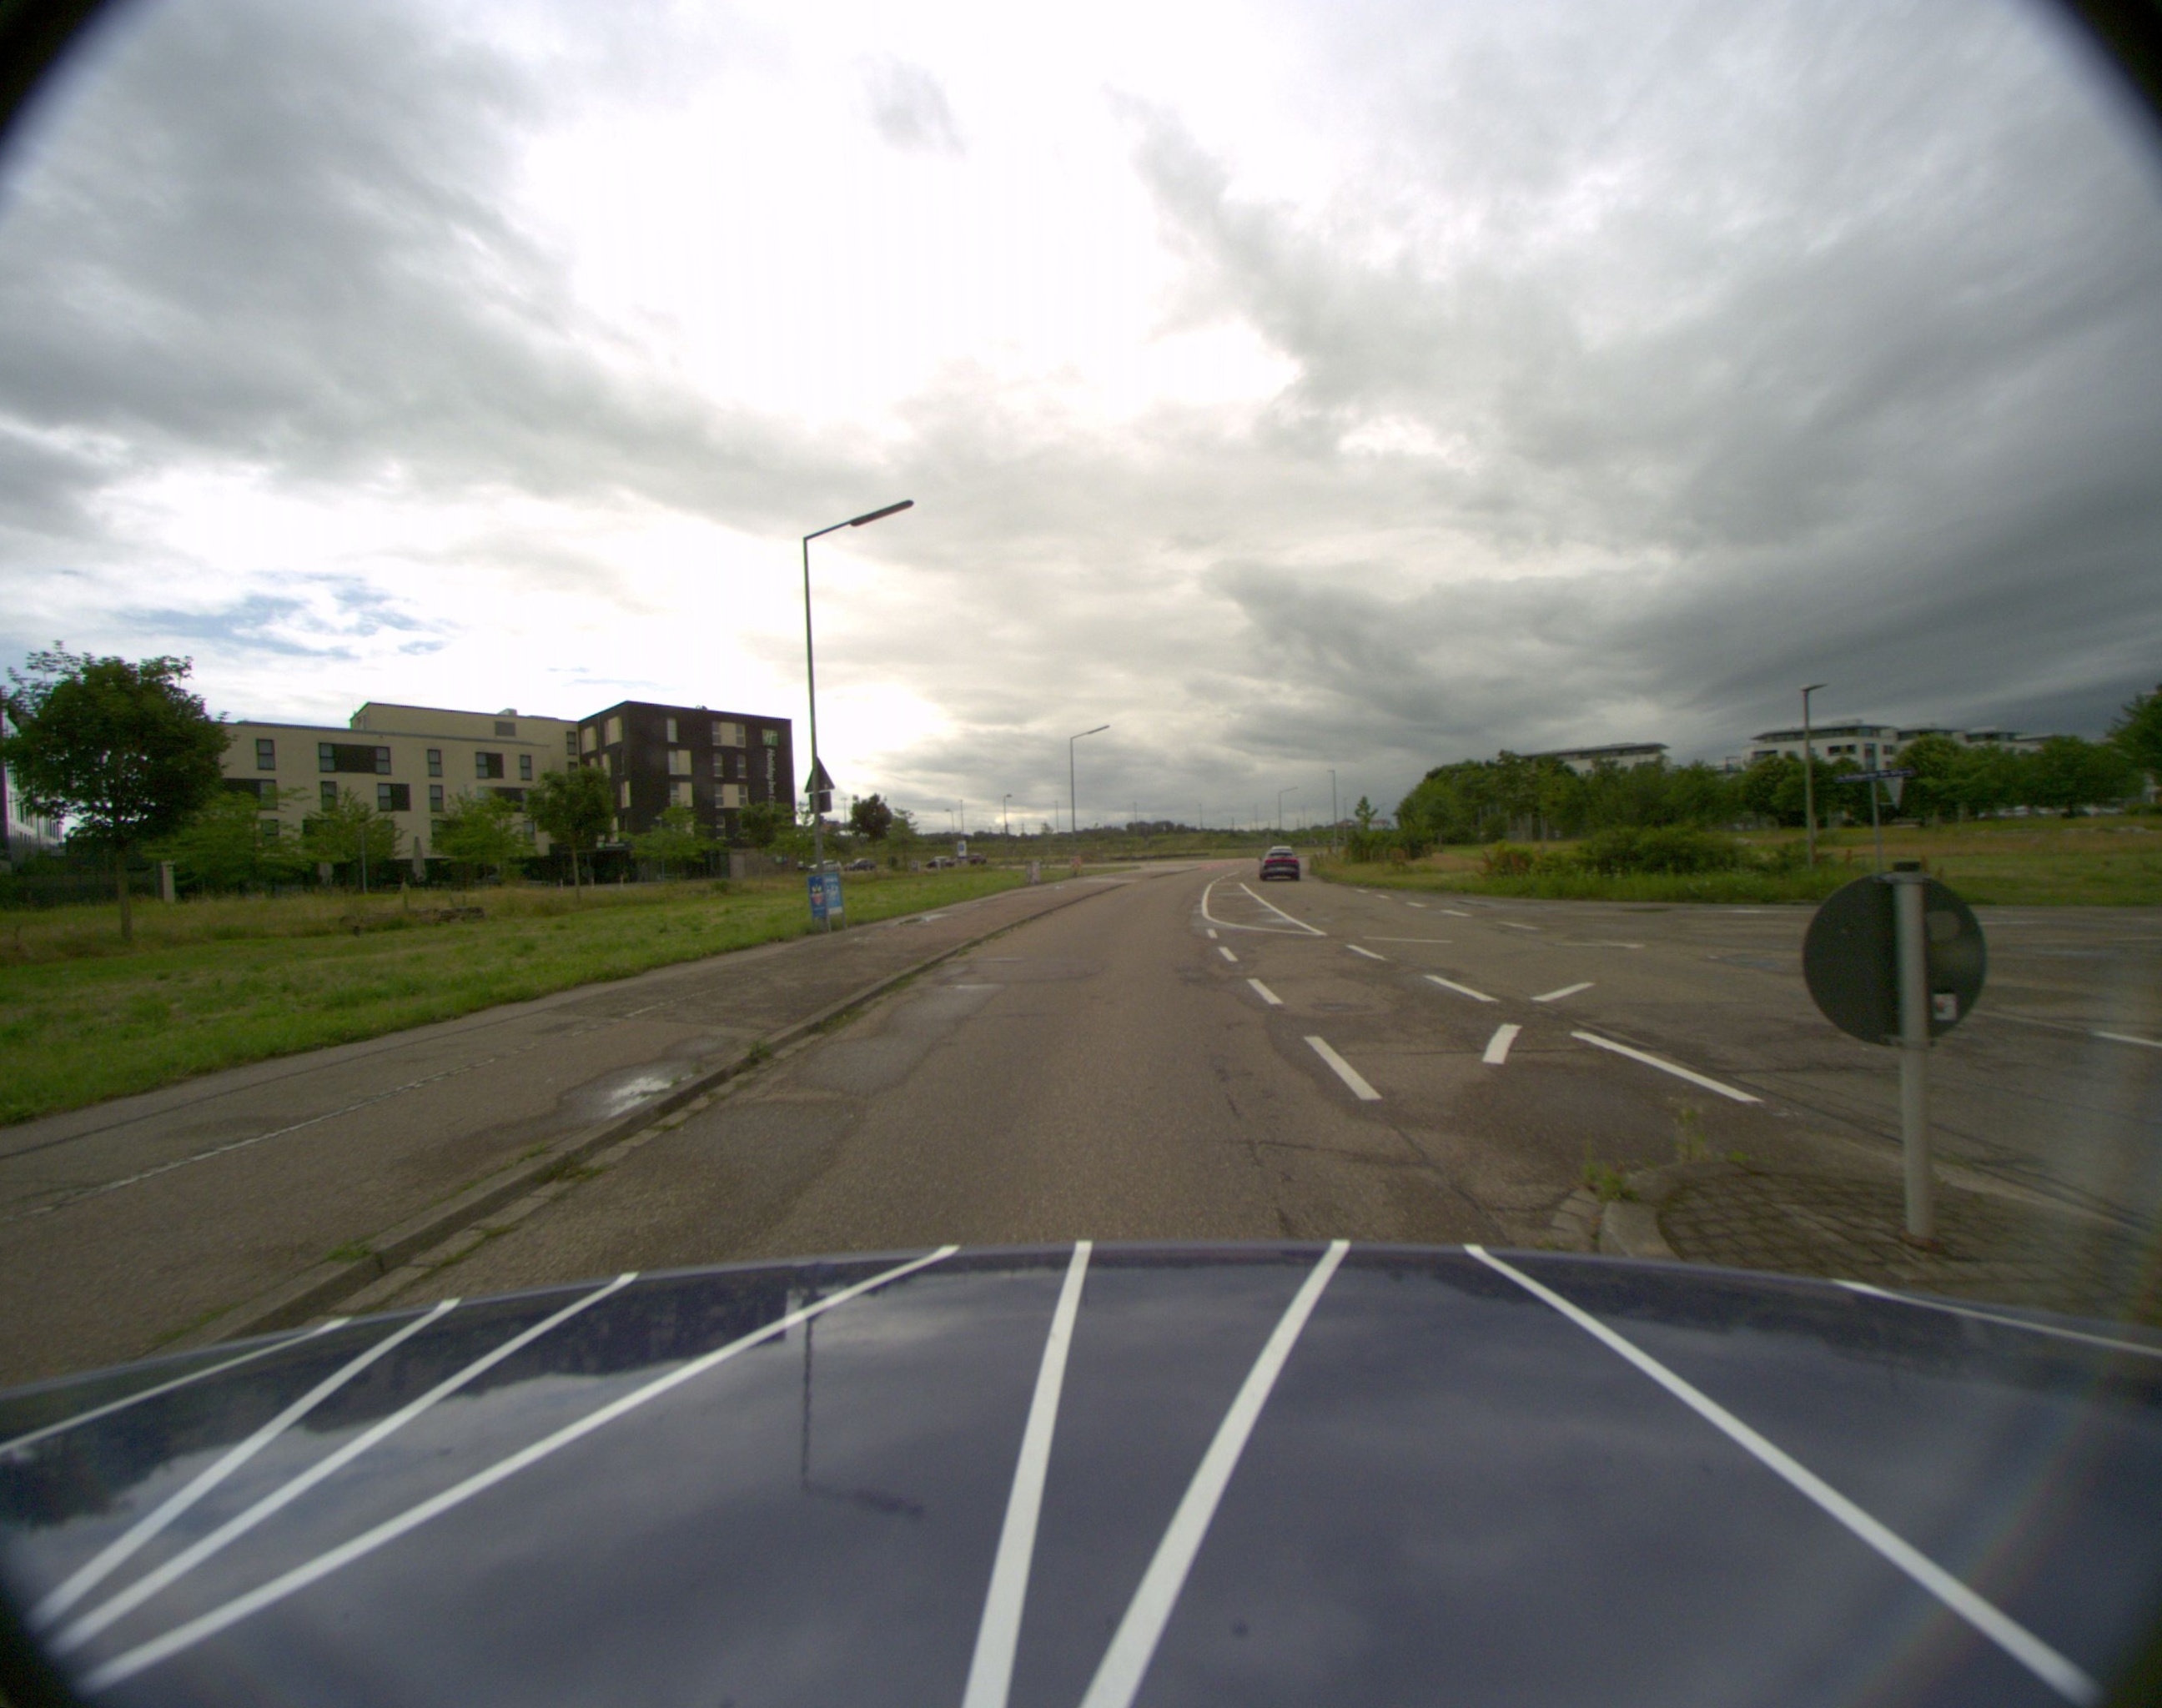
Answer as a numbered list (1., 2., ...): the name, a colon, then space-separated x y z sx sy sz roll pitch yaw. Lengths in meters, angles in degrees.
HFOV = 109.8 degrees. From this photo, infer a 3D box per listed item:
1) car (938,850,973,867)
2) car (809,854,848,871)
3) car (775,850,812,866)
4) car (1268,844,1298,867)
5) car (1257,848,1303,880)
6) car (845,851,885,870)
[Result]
1. car: -15.846 0.593 95.976 1.994 2.002 4.008 -2 1 39
2. car: -31.133 1.037 93.692 1.994 2.002 4.008 -2 1 39
3. car: -37.833 0.523 99.951 1.994 2.002 4.008 -2 1 40
4. car: 13.971 0.074 52.724 1.841 1.527 4.003 -2 0 12
5. car: 9.868 0.463 37.944 1.742 1.444 4.002 -2 0 8
6. car: -25.324 0.767 89.007 1.994 2.002 4.008 -2 1 39
